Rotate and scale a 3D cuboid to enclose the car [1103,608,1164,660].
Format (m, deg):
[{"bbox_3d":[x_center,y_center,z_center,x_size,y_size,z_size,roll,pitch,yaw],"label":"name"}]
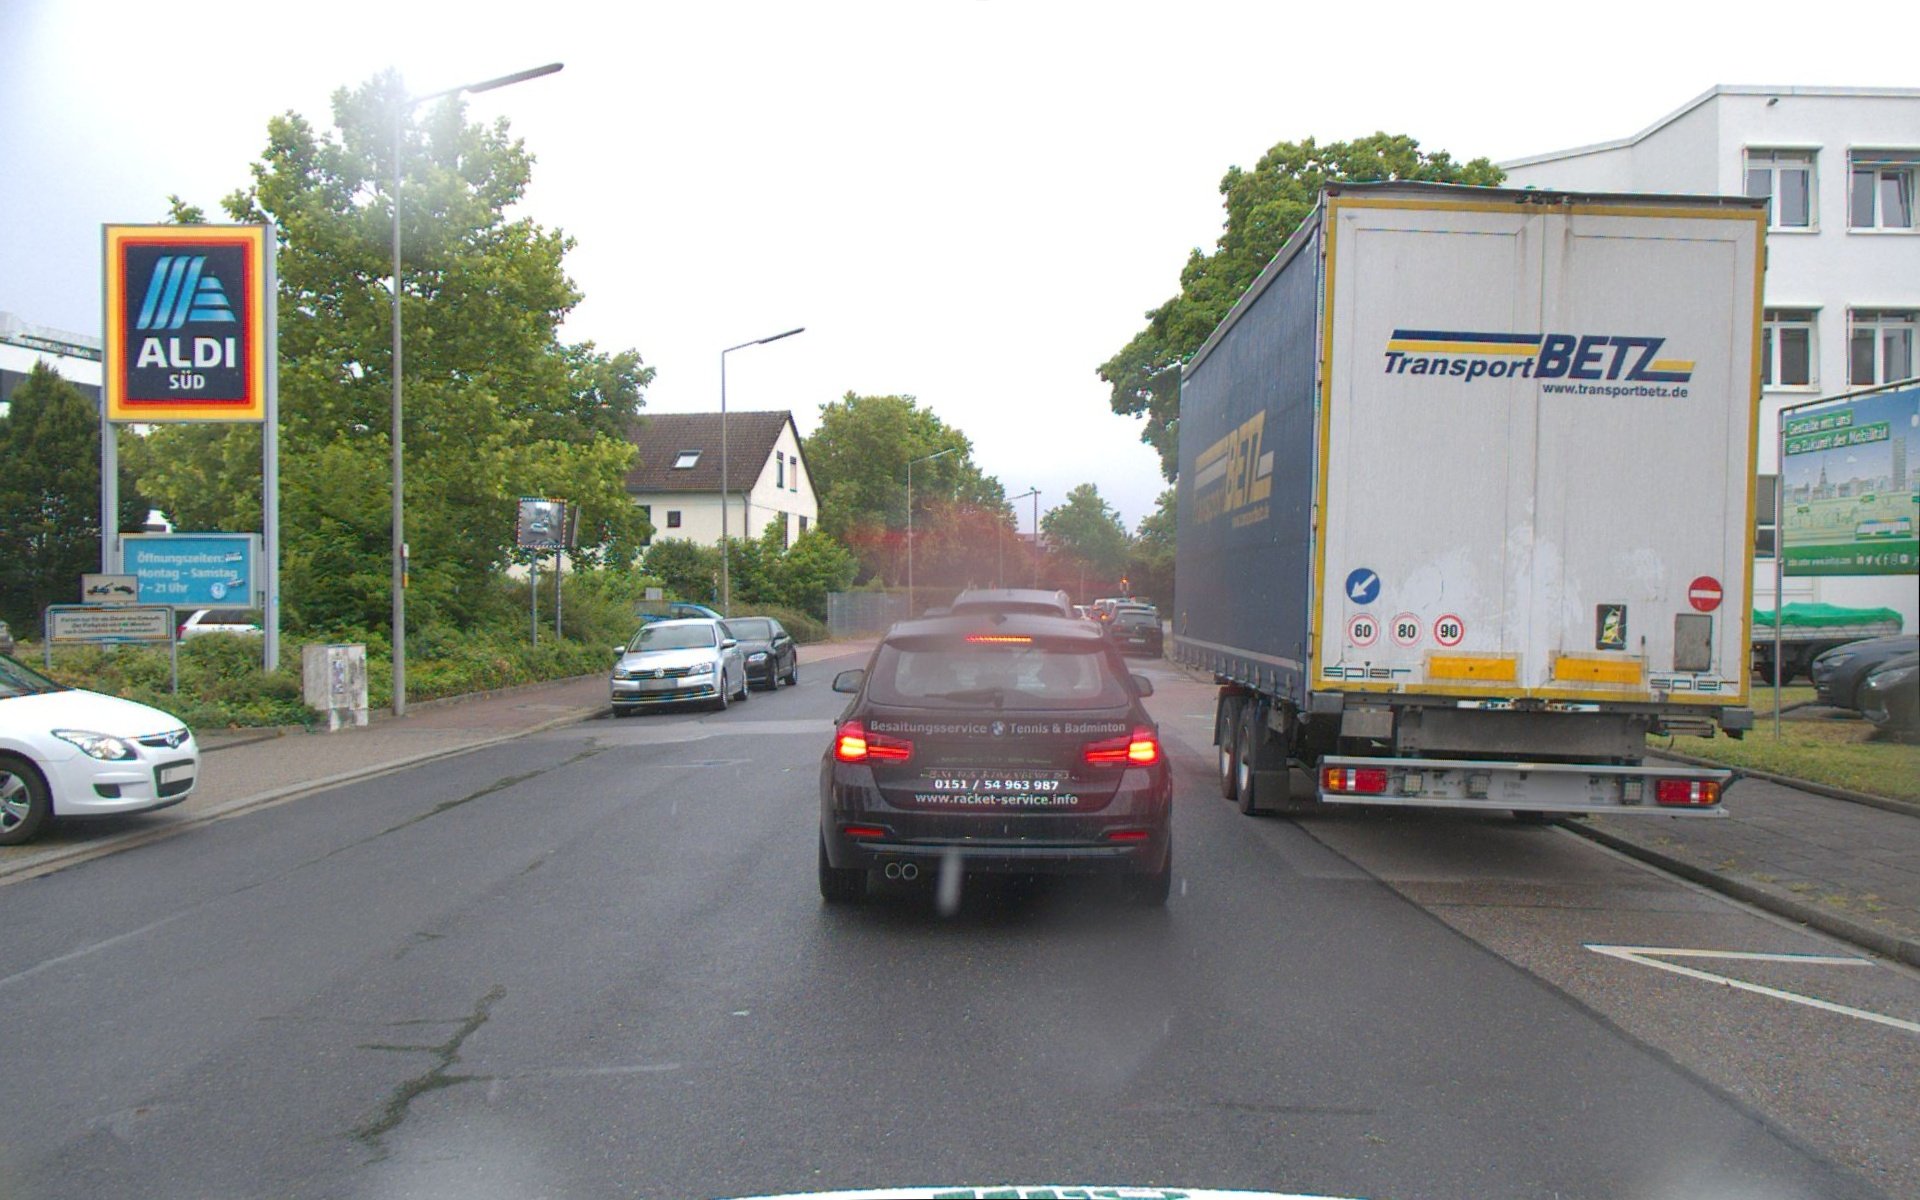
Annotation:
[{"bbox_3d":[5.554,1.077,53.200,1.766,1.614,4.001,0,-1,3],"label":"car"}]

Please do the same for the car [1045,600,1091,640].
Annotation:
[{"bbox_3d":[4.476,0.826,68.128,1.766,1.614,4.002,0,-1,6],"label":"car"}]

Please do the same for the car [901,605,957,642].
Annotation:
[{"bbox_3d":[-1.262,0.962,69.302,1.669,1.391,3.841,-3,0,8],"label":"car"}]

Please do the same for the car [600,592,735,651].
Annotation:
[{"bbox_3d":[-9.012,0.654,51.136,3.745,1.622,1.712,-3,0,4],"label":"car"}]

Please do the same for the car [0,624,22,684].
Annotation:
[{"bbox_3d":[-26.332,1.397,41.981,3.905,1.526,2.000,0,0,0],"label":"car"}]

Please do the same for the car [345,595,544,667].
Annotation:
[{"bbox_3d":[-11.626,0.681,37.479,3.906,1.567,1.910,0,0,-1],"label":"car"}]

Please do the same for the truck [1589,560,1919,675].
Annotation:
[{"bbox_3d":[16.260,0.339,32.822,6.782,2.177,2.094,0,0,-1],"label":"truck"}]

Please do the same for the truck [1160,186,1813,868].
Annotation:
[{"bbox_3d":[3.379,-0.389,13.021,2.685,3.674,7.750,2,0,1],"label":"truck"}]

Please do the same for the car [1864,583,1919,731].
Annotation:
[{"bbox_3d":[10.973,0.625,15.950,3.708,1.421,1.719,3,2,38],"label":"car"}]

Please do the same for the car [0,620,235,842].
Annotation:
[{"bbox_3d":[-7.703,0.896,11.997,4.108,1.485,1.710,0,0,-5],"label":"car"}]

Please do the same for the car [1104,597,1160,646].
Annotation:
[{"bbox_3d":[5.993,0.747,57.912,1.766,1.614,4.001,0,-1,3],"label":"car"}]

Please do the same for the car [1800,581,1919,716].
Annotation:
[{"bbox_3d":[11.746,0.550,18.363,4.072,1.440,1.683,1,3,39],"label":"car"}]

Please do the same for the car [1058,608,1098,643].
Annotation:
[{"bbox_3d":[5.605,1.190,78.120,1.766,1.614,4.002,0,-1,6],"label":"car"}]

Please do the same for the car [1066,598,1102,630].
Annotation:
[{"bbox_3d":[6.523,0.757,86.490,1.766,1.614,4.002,0,-1,6],"label":"car"}]

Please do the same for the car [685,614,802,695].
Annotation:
[{"bbox_3d":[-4.217,1.030,32.676,1.670,1.391,3.838,-3,0,1],"label":"car"}]

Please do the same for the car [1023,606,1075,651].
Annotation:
[{"bbox_3d":[3.355,1.054,61.642,1.766,1.614,4.002,0,-1,6],"label":"car"}]

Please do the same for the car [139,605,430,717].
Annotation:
[{"bbox_3d":[-9.797,0.864,24.175,3.497,1.485,1.712,1,0,-1],"label":"car"}]

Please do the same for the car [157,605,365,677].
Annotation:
[{"bbox_3d":[-15.850,0.909,37.640,3.906,1.567,1.910,0,0,-1],"label":"car"}]

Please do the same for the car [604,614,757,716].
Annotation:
[{"bbox_3d":[-4.426,0.986,26.843,1.671,1.391,4.601,-3,0,0],"label":"car"}]

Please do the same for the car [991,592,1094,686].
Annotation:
[{"bbox_3d":[1.546,0.702,30.657,1.766,1.614,4.001,0,-1,3],"label":"car"}]

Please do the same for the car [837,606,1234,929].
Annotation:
[{"bbox_3d":[0.209,0.766,9.357,1.769,1.419,3.996,1,-1,-4],"label":"car"}]

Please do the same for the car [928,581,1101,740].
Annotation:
[{"bbox_3d":[0.678,0.640,18.997,1.766,1.614,4.001,0,-1,3],"label":"car"}]

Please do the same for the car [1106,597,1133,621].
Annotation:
[{"bbox_3d":[10.808,0.588,112.050,1.766,1.614,4.003,0,0,5],"label":"car"}]

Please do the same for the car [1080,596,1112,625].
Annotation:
[{"bbox_3d":[7.760,0.566,94.293,1.766,1.614,4.003,0,0,5],"label":"car"}]
